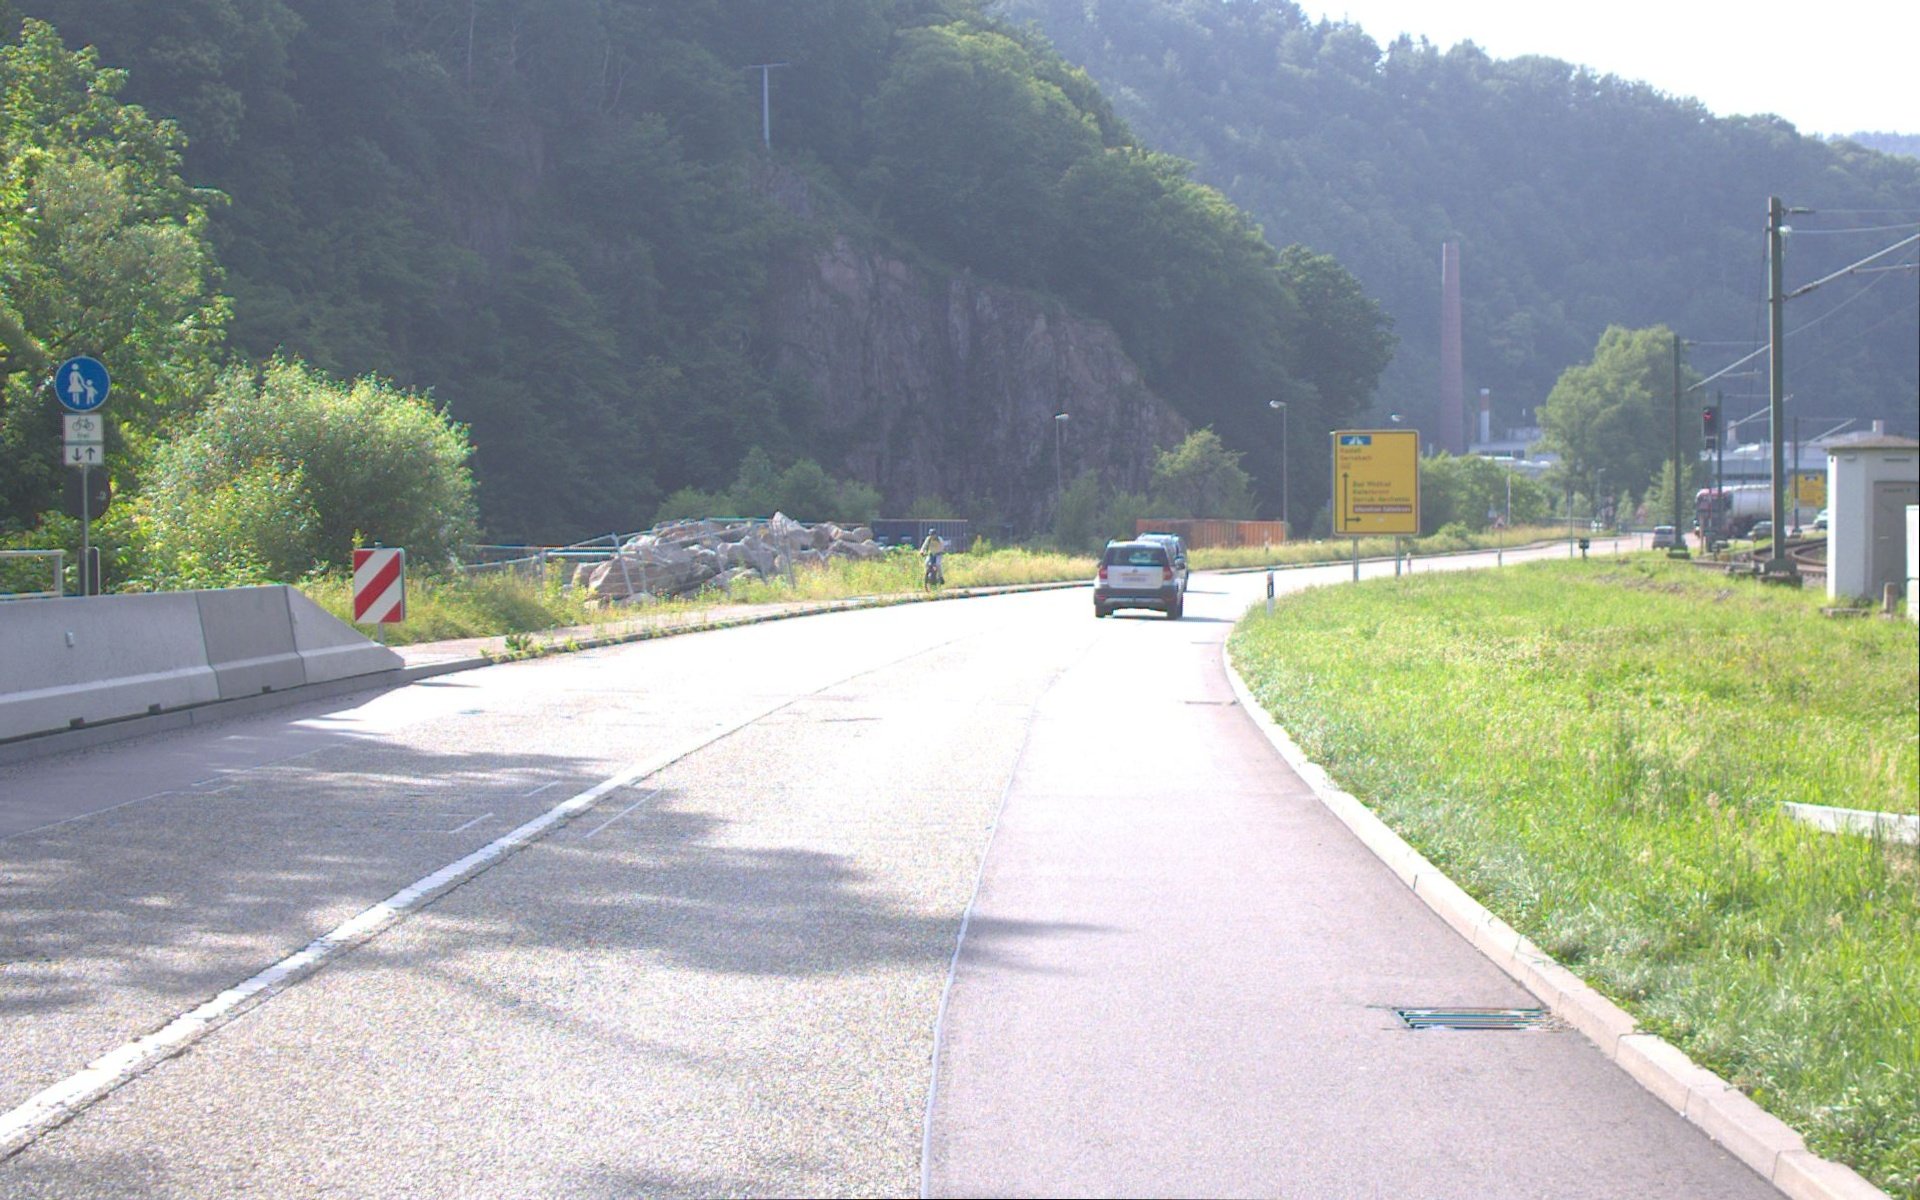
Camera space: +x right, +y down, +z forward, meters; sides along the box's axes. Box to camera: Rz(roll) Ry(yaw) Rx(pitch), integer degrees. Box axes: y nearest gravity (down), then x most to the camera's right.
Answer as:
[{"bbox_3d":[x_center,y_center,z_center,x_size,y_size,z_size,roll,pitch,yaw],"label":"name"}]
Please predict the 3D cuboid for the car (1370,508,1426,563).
[{"bbox_3d":[16.734,-2.475,131.488,1.994,2.007,3.999,-2,1,7],"label":"car"}]

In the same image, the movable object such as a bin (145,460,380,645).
[{"bbox_3d":[-16.045,-1.102,79.893,2.699,3.934,9.989,-2,1,4],"label":"movable object such as a bin"}]

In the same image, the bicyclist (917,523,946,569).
[{"bbox_3d":[-0.756,-1.452,91.952,0.684,1.220,0.858,1,1,5],"label":"bicyclist"}]

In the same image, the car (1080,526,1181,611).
[{"bbox_3d":[3.706,-0.691,74.306,1.994,1.717,3.989,-2,1,5],"label":"car"}]

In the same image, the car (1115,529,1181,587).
[{"bbox_3d":[6.104,-1.365,111.299,1.851,1.778,4.683,2,1,6],"label":"car"}]

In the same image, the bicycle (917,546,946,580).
[{"bbox_3d":[-0.765,-0.984,91.959,0.539,0.878,2.252,2,1,5],"label":"bicycle"}]
